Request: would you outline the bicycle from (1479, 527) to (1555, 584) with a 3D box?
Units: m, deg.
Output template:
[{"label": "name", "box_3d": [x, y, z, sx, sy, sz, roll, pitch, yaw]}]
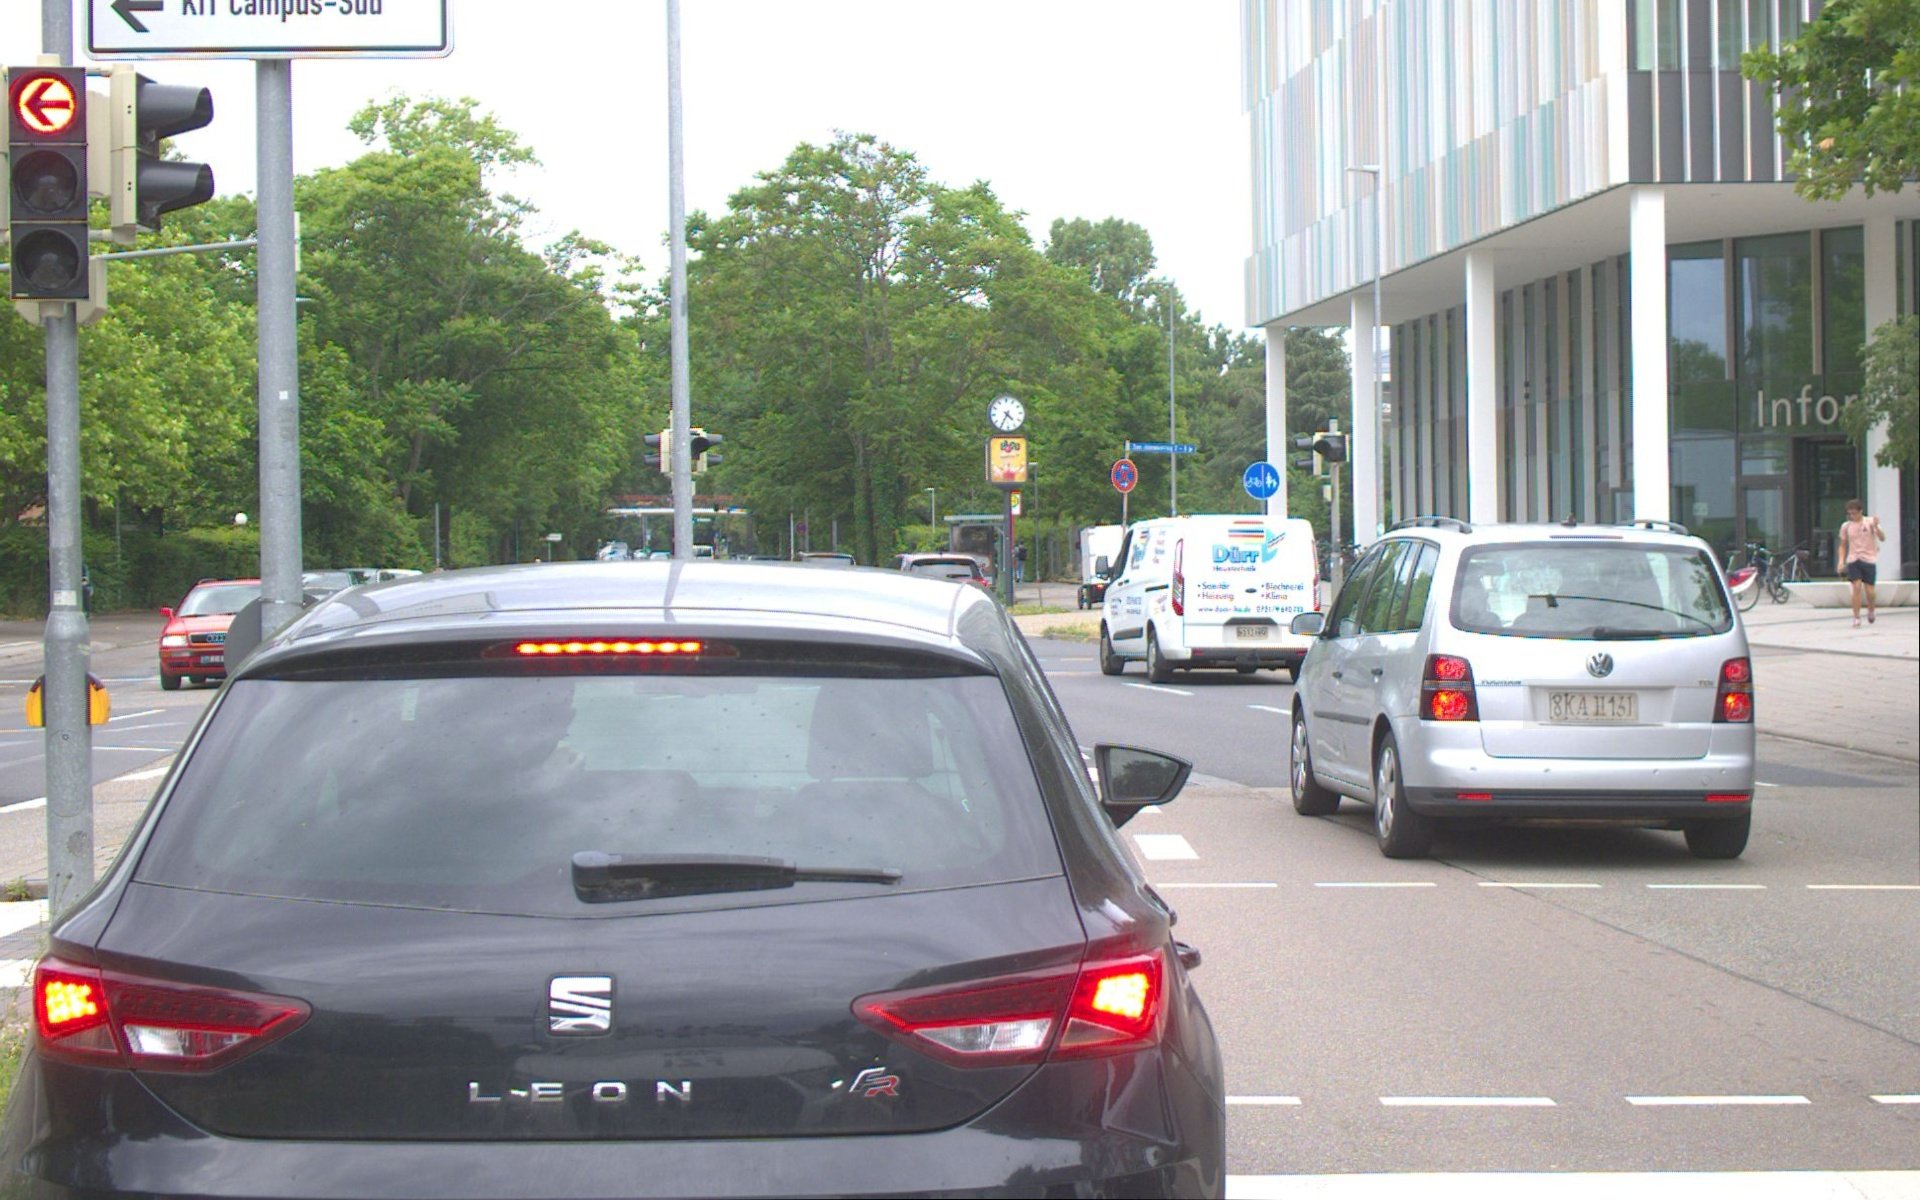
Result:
[{"label": "bicycle", "box_3d": [12.640, -1.005, 77.994, 1.772, 1.207, 0.570, -3, 2, -34]}]

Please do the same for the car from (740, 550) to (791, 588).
[{"label": "car", "box_3d": [-7.636, -1.241, 134.823, 1.898, 1.349, 3.883, -2, 2, -4]}]

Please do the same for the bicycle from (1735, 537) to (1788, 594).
[{"label": "bicycle", "box_3d": [15.730, -0.682, 67.451, 0.620, 1.042, 1.703, -2, 2, 26]}]

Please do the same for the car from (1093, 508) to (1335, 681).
[{"label": "car", "box_3d": [3.010, -0.108, 41.663, 1.966, 1.965, 4.345, 1, 1, -9]}]

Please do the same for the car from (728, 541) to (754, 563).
[{"label": "car", "box_3d": [-13.100, -2.858, 205.337, 1.505, 1.189, 3.164, -2, 2, -4]}]

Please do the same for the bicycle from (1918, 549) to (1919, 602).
[{"label": "bicycle", "box_3d": [17.784, -0.479, 61.589, 0.696, 0.943, 1.981, -1, 2, 30]}]

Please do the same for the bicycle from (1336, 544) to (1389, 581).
[{"label": "bicycle", "box_3d": [10.779, -1.012, 92.060, 1.387, 0.938, 0.487, -1, 2, 7]}]

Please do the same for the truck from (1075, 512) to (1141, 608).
[{"label": "truck", "box_3d": [3.596, -1.000, 83.909, 1.317, 2.235, 3.402, -2, 2, -1]}]

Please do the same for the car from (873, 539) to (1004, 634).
[{"label": "car", "box_3d": [-0.429, -0.268, 63.150, 1.948, 1.618, 3.750, 0, 2, -8]}]

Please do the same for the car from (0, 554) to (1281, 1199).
[{"label": "car", "box_3d": [-0.444, 0.660, 5.986, 1.753, 1.427, 3.769, 1, 1, 2]}]

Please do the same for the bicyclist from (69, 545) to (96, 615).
[{"label": "bicyclist", "box_3d": [-20.540, -0.473, 80.470, 0.491, 1.619, 0.588, 1, 2, -2]}]

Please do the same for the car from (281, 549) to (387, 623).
[{"label": "car", "box_3d": [-15.743, -0.379, 86.633, 1.906, 1.711, 4.000, -2, 2, -1]}]

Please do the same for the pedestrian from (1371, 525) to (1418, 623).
[{"label": "pedestrian", "box_3d": [7.285, -0.440, 57.652, 0.687, 1.634, 0.633, 0, 1, -1]}]

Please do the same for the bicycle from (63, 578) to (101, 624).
[{"label": "bicycle", "box_3d": [-20.549, 0.014, 80.490, 0.488, 1.002, 1.590, 1, 2, -1]}]

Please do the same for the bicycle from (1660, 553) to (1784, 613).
[{"label": "bicycle", "box_3d": [12.511, -0.290, 56.465, 1.886, 0.895, 0.697, -3, 2, -21]}]

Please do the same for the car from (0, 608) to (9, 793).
[{"label": "car", "box_3d": [-7.279, 0.505, 20.549, 1.921, 1.659, 4.399, -3, 1, 0]}]

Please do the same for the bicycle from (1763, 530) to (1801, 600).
[{"label": "bicycle", "box_3d": [15.464, -0.659, 64.658, 0.526, 1.248, 1.664, -2, 2, 18]}]

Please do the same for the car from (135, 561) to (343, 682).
[{"label": "car", "box_3d": [-9.532, 0.249, 45.755, 1.714, 1.413, 4.294, -2, 1, 2]}]

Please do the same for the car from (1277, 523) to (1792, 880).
[{"label": "car", "box_3d": [2.766, 0.414, 17.465, 1.729, 1.597, 4.106, 0, 1, -3]}]

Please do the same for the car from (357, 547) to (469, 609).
[{"label": "car", "box_3d": [-15.493, -0.627, 97.552, 1.759, 1.582, 3.998, -2, 2, 12]}]

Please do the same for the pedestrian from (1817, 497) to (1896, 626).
[{"label": "pedestrian", "box_3d": [12.546, -0.546, 48.113, 0.847, 1.759, 0.768, -2, 1, -1]}]

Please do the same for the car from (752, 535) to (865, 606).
[{"label": "car", "box_3d": [-3.818, -0.761, 85.799, 1.914, 1.658, 4.116, -3, 2, -15]}]

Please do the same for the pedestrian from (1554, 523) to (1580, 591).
[{"label": "pedestrian", "box_3d": [12.173, -0.864, 68.982, 0.472, 1.357, 0.445, -2, 1, 10]}]

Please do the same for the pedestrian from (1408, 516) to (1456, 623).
[{"label": "pedestrian", "box_3d": [7.916, -0.523, 57.664, 0.687, 1.775, 0.677, -1, 1, -1]}]

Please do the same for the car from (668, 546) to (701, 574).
[{"label": "car", "box_3d": [-15.957, -2.335, 199.099, 1.695, 1.498, 4.011, -2, 2, -7]}]
